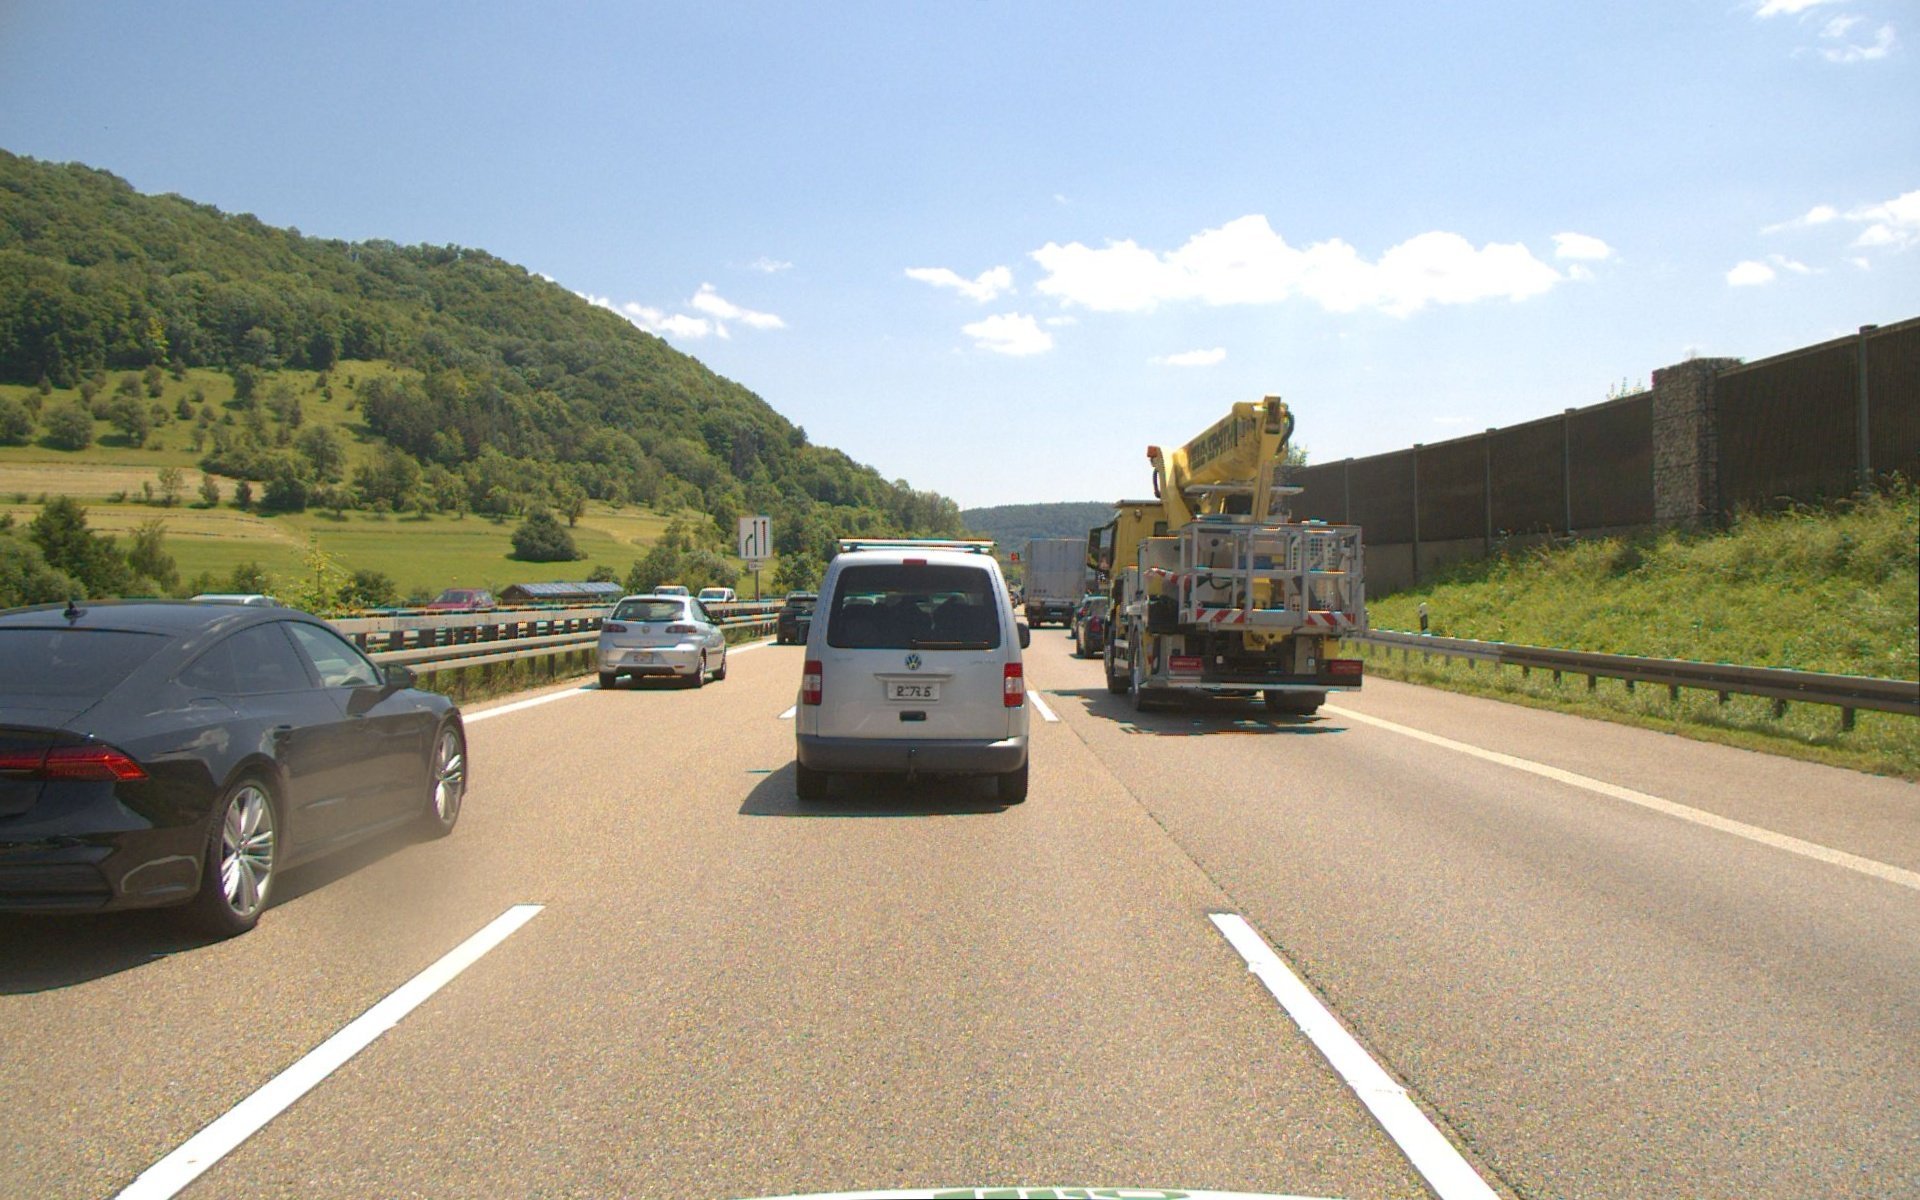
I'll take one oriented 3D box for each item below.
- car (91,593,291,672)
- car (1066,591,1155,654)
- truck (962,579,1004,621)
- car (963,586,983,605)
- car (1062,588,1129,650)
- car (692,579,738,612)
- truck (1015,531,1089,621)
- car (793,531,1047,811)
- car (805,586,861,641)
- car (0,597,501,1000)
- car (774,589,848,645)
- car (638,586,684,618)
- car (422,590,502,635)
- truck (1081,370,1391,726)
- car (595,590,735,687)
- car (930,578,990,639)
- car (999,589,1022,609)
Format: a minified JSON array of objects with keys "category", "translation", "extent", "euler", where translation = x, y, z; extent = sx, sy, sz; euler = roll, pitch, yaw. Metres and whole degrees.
[{"category":"car","translation":[-15.320,0.598,33.253],"extent":[1.953,1.481,4.526],"euler":[0,0,-1]},{"category":"car","translation":[3.663,0.527,40.700],"extent":[1.750,1.484,3.769],"euler":[0,0,-2]},{"category":"truck","translation":[1.491,0.003,103.929],"extent":[2.340,2.585,5.942],"euler":[0,0,4]},{"category":"car","translation":[1.272,-0.405,164.542],"extent":[1.953,1.837,3.999],"euler":[1,0,-1]},{"category":"car","translation":[4.627,0.624,56.792],"extent":[1.953,2.049,4.000],"euler":[0,0,0]},{"category":"car","translation":[-14.148,-0.276,95.878],"extent":[1.953,1.871,5.226],"euler":[0,0,-1]},{"category":"truck","translation":[4.146,-1.010,76.335],"extent":[2.880,3.890,8.235],"euler":[1,0,0]},{"category":"car","translation":[-0.323,0.475,13.251],"extent":[1.720,1.900,3.999],"euler":[0,0,-2]},{"category":"car","translation":[-4.865,0.498,63.943],"extent":[1.953,2.049,3.999],"euler":[-1,0,-2]},{"category":"car","translation":[-3.843,0.697,8.309],"extent":[1.764,1.415,4.968],"euler":[0,0,-1]},{"category":"car","translation":[-4.317,0.470,48.370],"extent":[1.886,1.525,3.999],"euler":[1,0,-2]},{"category":"car","translation":[-18.649,0.098,103.298],"extent":[2.018,1.975,4.660],"euler":[0,0,-1]},{"category":"car","translation":[-19.218,0.458,64.024],"extent":[1.788,1.673,4.544],"euler":[0,0,-1]},{"category":"truck","translation":[3.436,-0.598,23.009],"extent":[2.649,4.011,8.719],"euler":[0,0,-2]},{"category":"car","translation":[-4.732,0.573,26.984],"extent":[1.661,1.470,3.861],"euler":[0,0,-1]},{"category":"car","translation":[-0.046,0.262,56.652],"extent":[1.953,2.010,3.999],"euler":[0,0,-2]},{"category":"car","translation":[4.795,-0.072,157.171],"extent":[1.953,1.837,3.999],"euler":[1,0,-1]}]
